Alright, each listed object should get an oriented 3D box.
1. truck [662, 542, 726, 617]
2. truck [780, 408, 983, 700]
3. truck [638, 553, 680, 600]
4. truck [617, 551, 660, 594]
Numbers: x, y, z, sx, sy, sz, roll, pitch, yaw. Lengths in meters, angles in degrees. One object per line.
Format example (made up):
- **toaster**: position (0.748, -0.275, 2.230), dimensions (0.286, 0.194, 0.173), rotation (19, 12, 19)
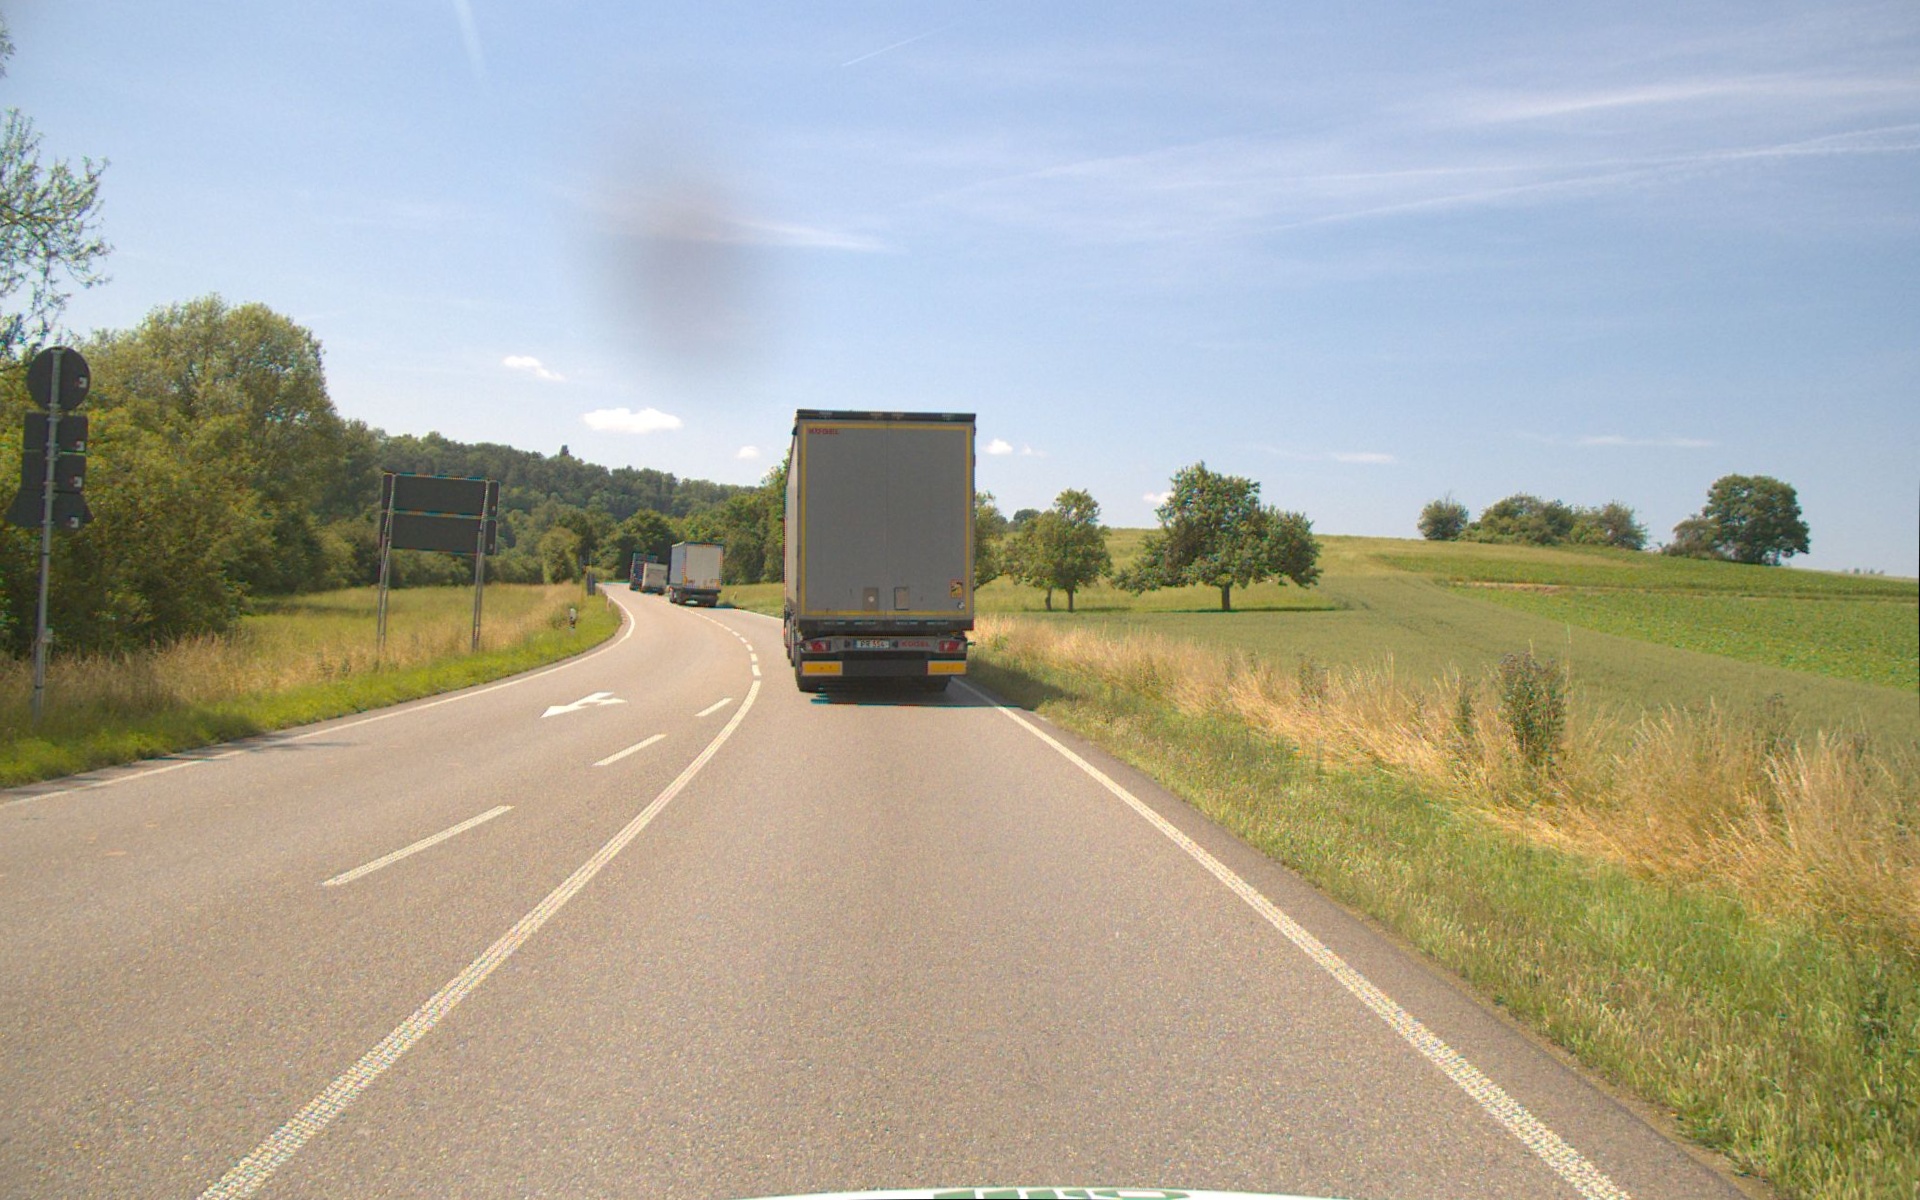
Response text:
- **truck**: position (-18.391, -1.315, 113.397), dimensions (2.911, 4.664, 16.257), rotation (2, 0, -14)
- **truck**: position (-1.596, -0.668, 27.674), dimensions (2.754, 4.015, 9.577), rotation (0, 0, -6)
- **truck**: position (-31.104, -2.352, 170.585), dimensions (3.574, 4.201, 13.055), rotation (3, -2, -12)
- **truck**: position (-36.766, -3.049, 188.524), dimensions (3.472, 4.315, 13.346), rotation (3, -2, -16)
